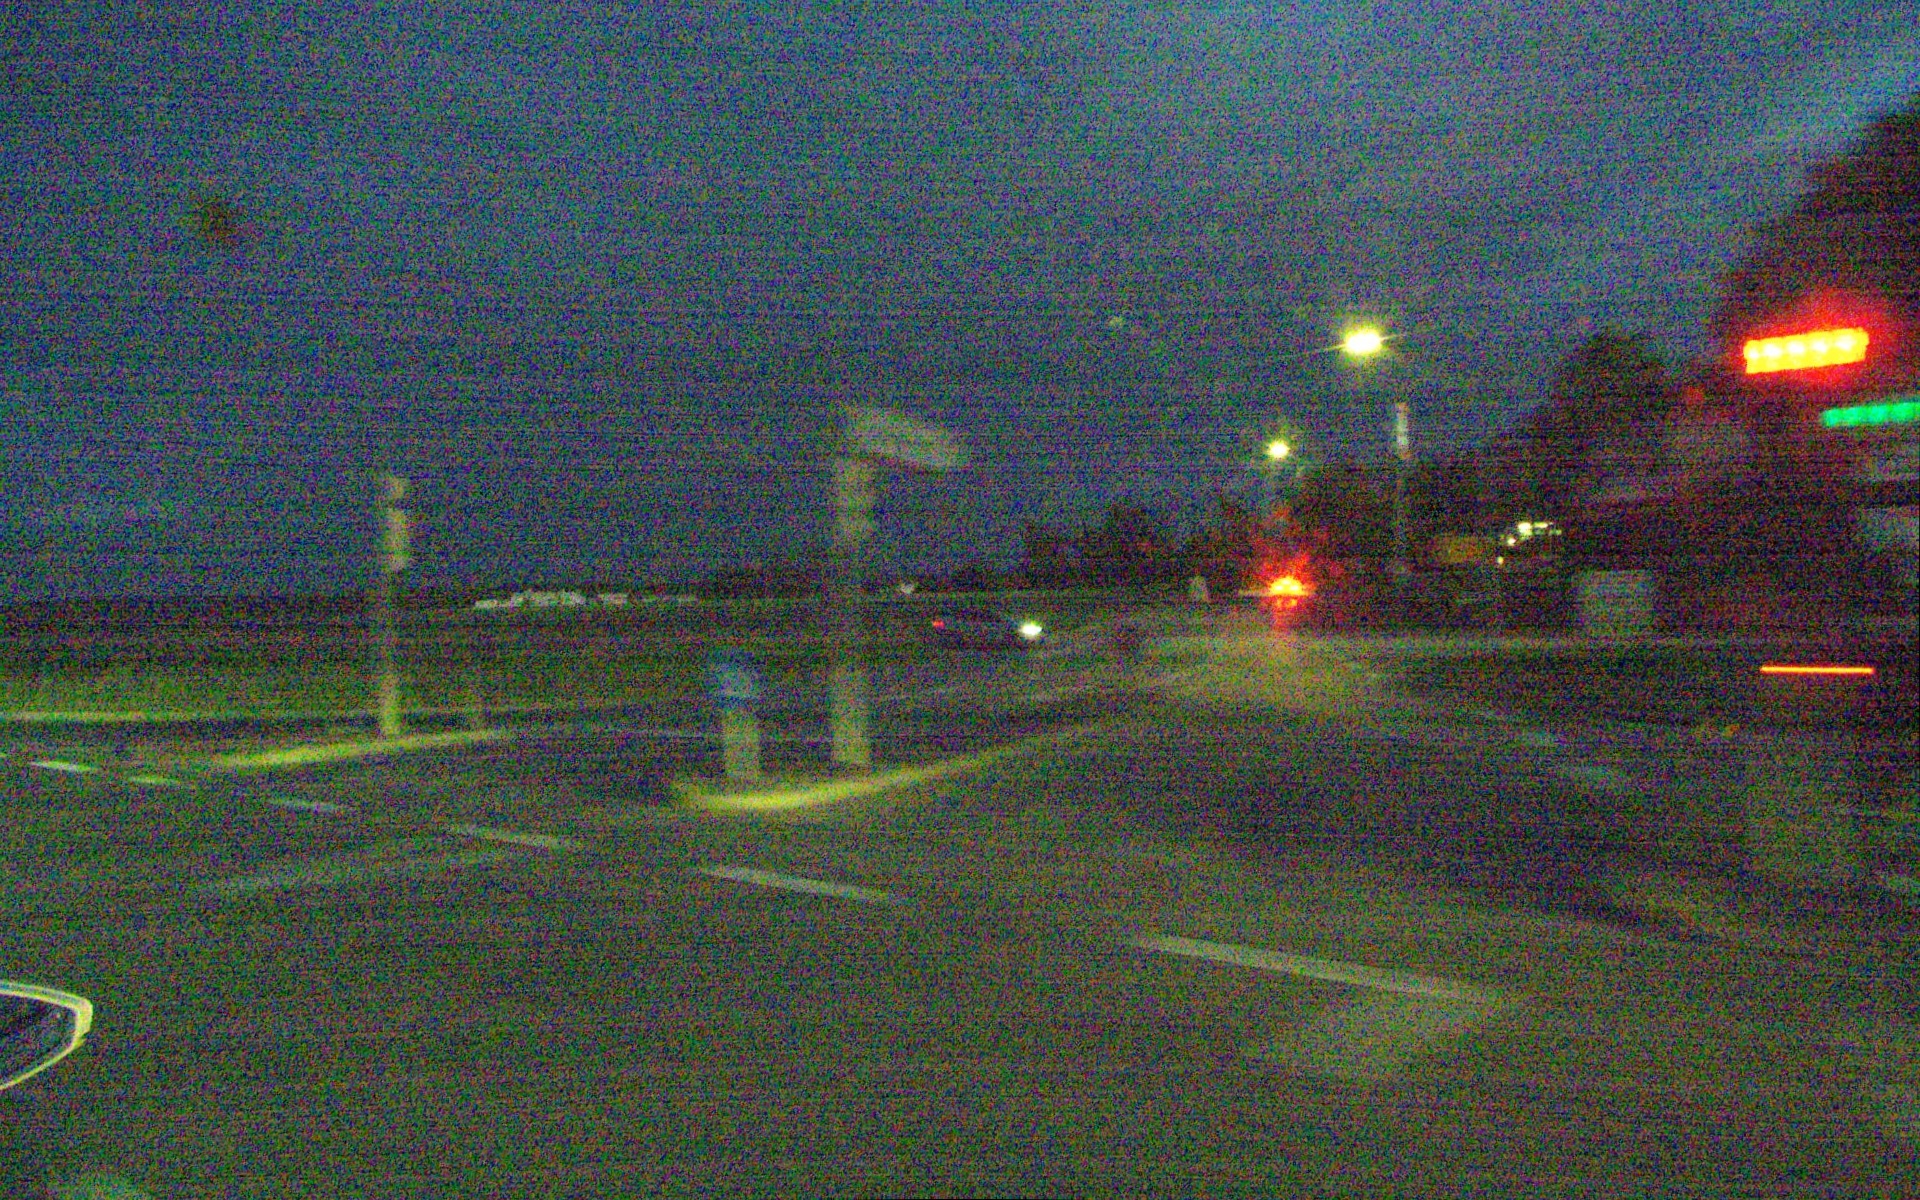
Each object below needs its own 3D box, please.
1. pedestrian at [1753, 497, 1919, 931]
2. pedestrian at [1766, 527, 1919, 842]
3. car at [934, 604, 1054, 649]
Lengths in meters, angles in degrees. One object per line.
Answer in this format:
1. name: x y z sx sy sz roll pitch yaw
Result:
1. pedestrian: 4.593 0.550 5.131 0.704 2.039 0.777 -1 -2 32
2. pedestrian: 6.263 0.562 6.917 0.700 2.039 0.781 0 -2 -7
3. car: 1.361 1.072 39.544 4.397 1.685 1.998 -1 -2 17
